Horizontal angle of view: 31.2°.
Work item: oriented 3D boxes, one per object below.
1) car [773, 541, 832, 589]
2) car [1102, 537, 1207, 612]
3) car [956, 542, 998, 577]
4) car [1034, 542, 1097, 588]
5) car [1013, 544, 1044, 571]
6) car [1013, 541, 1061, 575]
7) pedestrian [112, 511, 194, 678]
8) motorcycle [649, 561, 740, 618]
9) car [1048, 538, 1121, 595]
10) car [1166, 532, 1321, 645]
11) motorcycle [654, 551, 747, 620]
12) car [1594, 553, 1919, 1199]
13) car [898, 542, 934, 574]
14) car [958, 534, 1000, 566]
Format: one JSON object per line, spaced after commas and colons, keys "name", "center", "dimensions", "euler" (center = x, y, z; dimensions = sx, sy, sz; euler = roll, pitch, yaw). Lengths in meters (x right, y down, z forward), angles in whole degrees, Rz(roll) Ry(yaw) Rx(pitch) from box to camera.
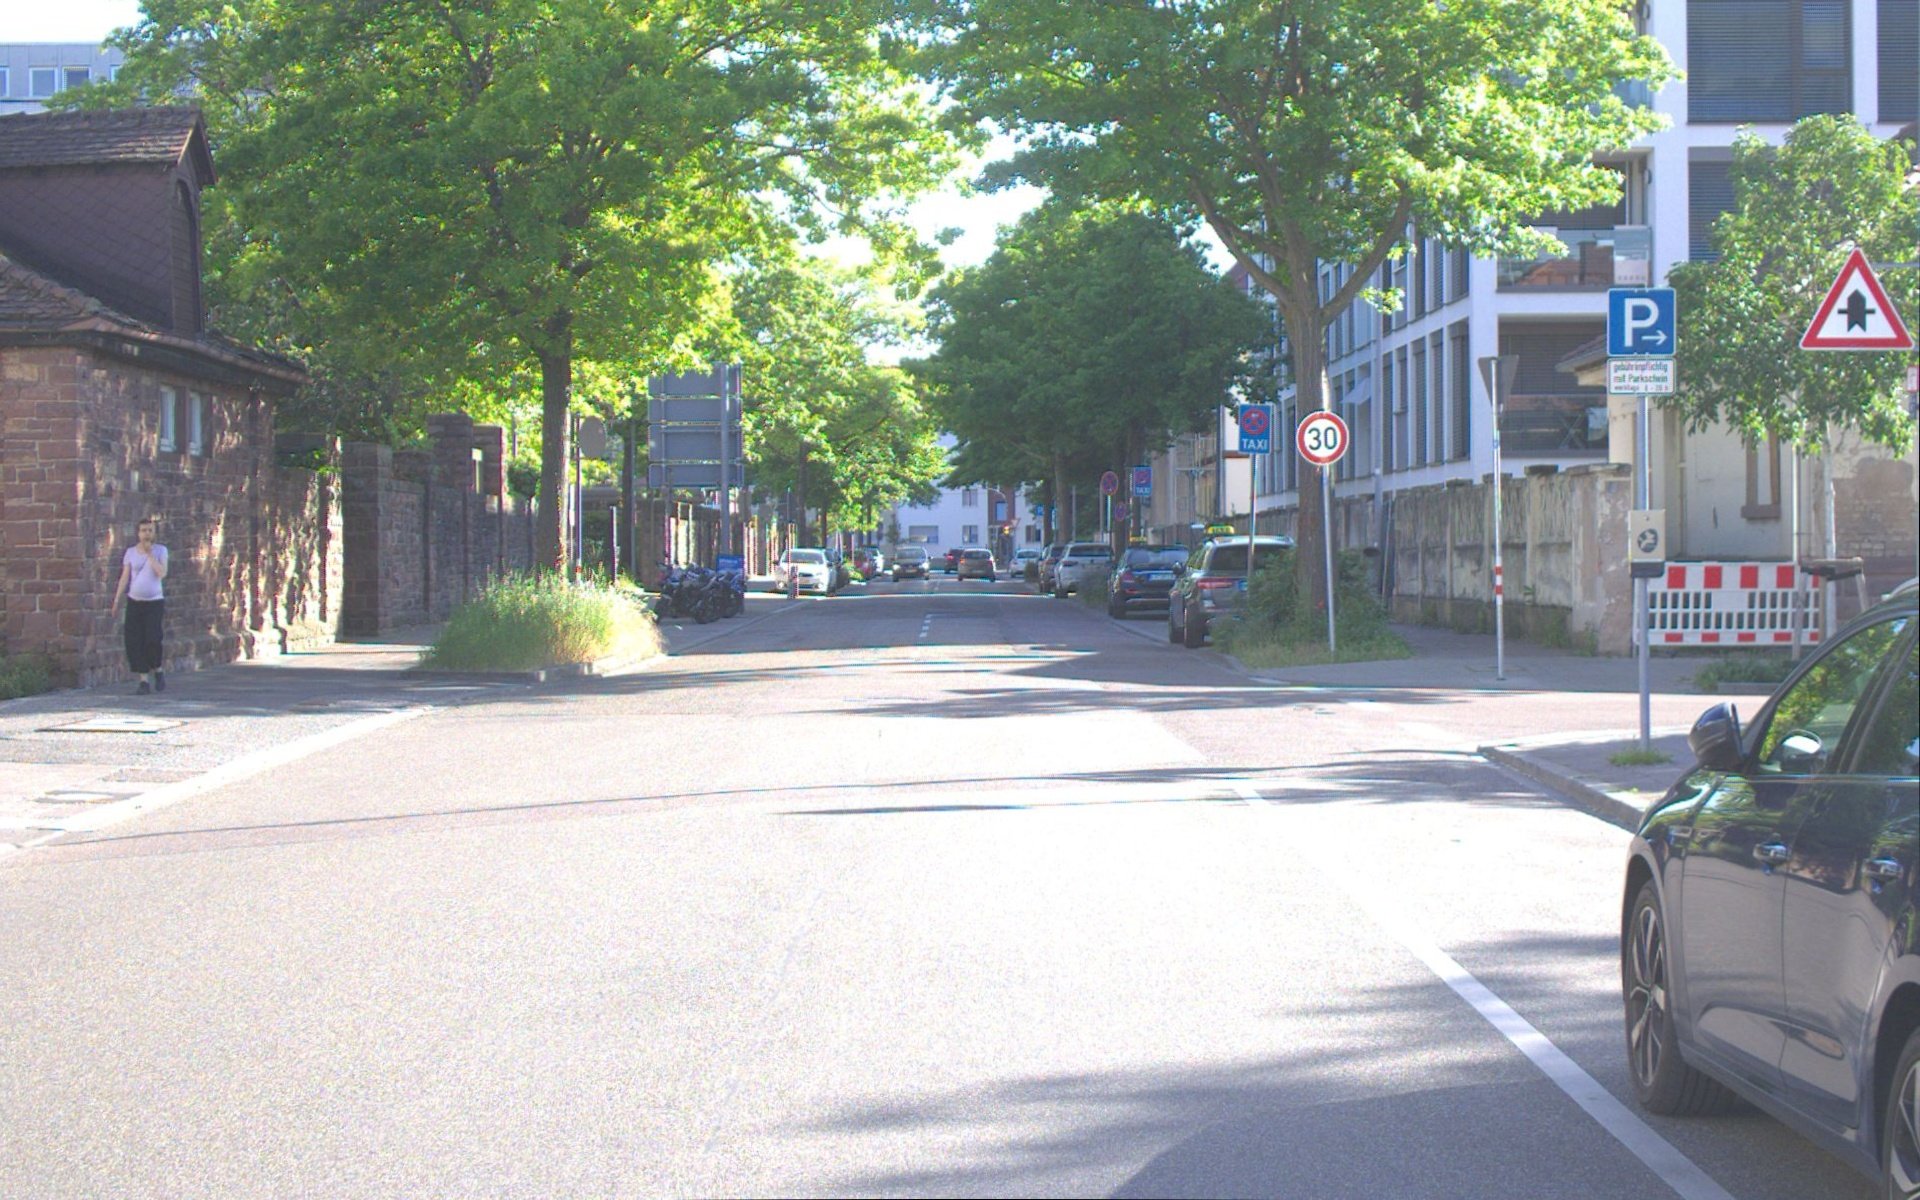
{"name": "car", "center": [-5.001, -1.131, 109.531], "dimensions": [1.767, 1.482, 4.000], "euler": [0, 1, -1]}
{"name": "car", "center": [3.837, -0.531, 68.342], "dimensions": [1.767, 1.435, 4.000], "euler": [0, 1, -1]}
{"name": "car", "center": [0.760, -1.816, 154.905], "dimensions": [1.767, 1.543, 4.066], "euler": [0, 1, -1]}
{"name": "car", "center": [3.450, -1.158, 112.694], "dimensions": [1.993, 1.460, 3.836], "euler": [0, 1, 1]}
{"name": "car", "center": [3.536, -2.196, 178.330], "dimensions": [1.585, 1.395, 3.836], "euler": [0, 1, 1]}
{"name": "car", "center": [3.236, -1.772, 145.119], "dimensions": [1.993, 1.420, 3.836], "euler": [0, 1, 1]}
{"name": "pedestrian", "center": [-7.630, -0.061, 32.537], "dimensions": [0.521, 1.557, 1.096], "euler": [0, 1, -1]}
{"name": "motorcycle", "center": [-5.115, -0.219, 66.429], "dimensions": [0.577, 1.071, 2.118], "euler": [0, 1, 33]}
{"name": "car", "center": [3.490, -0.964, 96.955], "dimensions": [1.950, 1.573, 3.836], "euler": [0, 1, 1]}
{"name": "car", "center": [3.830, -0.189, 47.116], "dimensions": [1.703, 1.463, 4.789], "euler": [0, 1, 0]}
{"name": "motorcycle", "center": [-4.902, -0.285, 65.127], "dimensions": [0.577, 1.271, 2.118], "euler": [0, 1, 33]}
{"name": "car", "center": [2.646, 0.666, 7.392], "dimensions": [1.818, 1.448, 4.214], "euler": [1, 1, 1]}
{"name": "car", "center": [-2.097, -2.021, 164.319], "dimensions": [1.653, 1.525, 4.000], "euler": [0, 1, 0]}
{"name": "car", "center": [0.895, -2.293, 157.267], "dimensions": [1.889, 1.395, 3.836], "euler": [0, 1, 1]}
